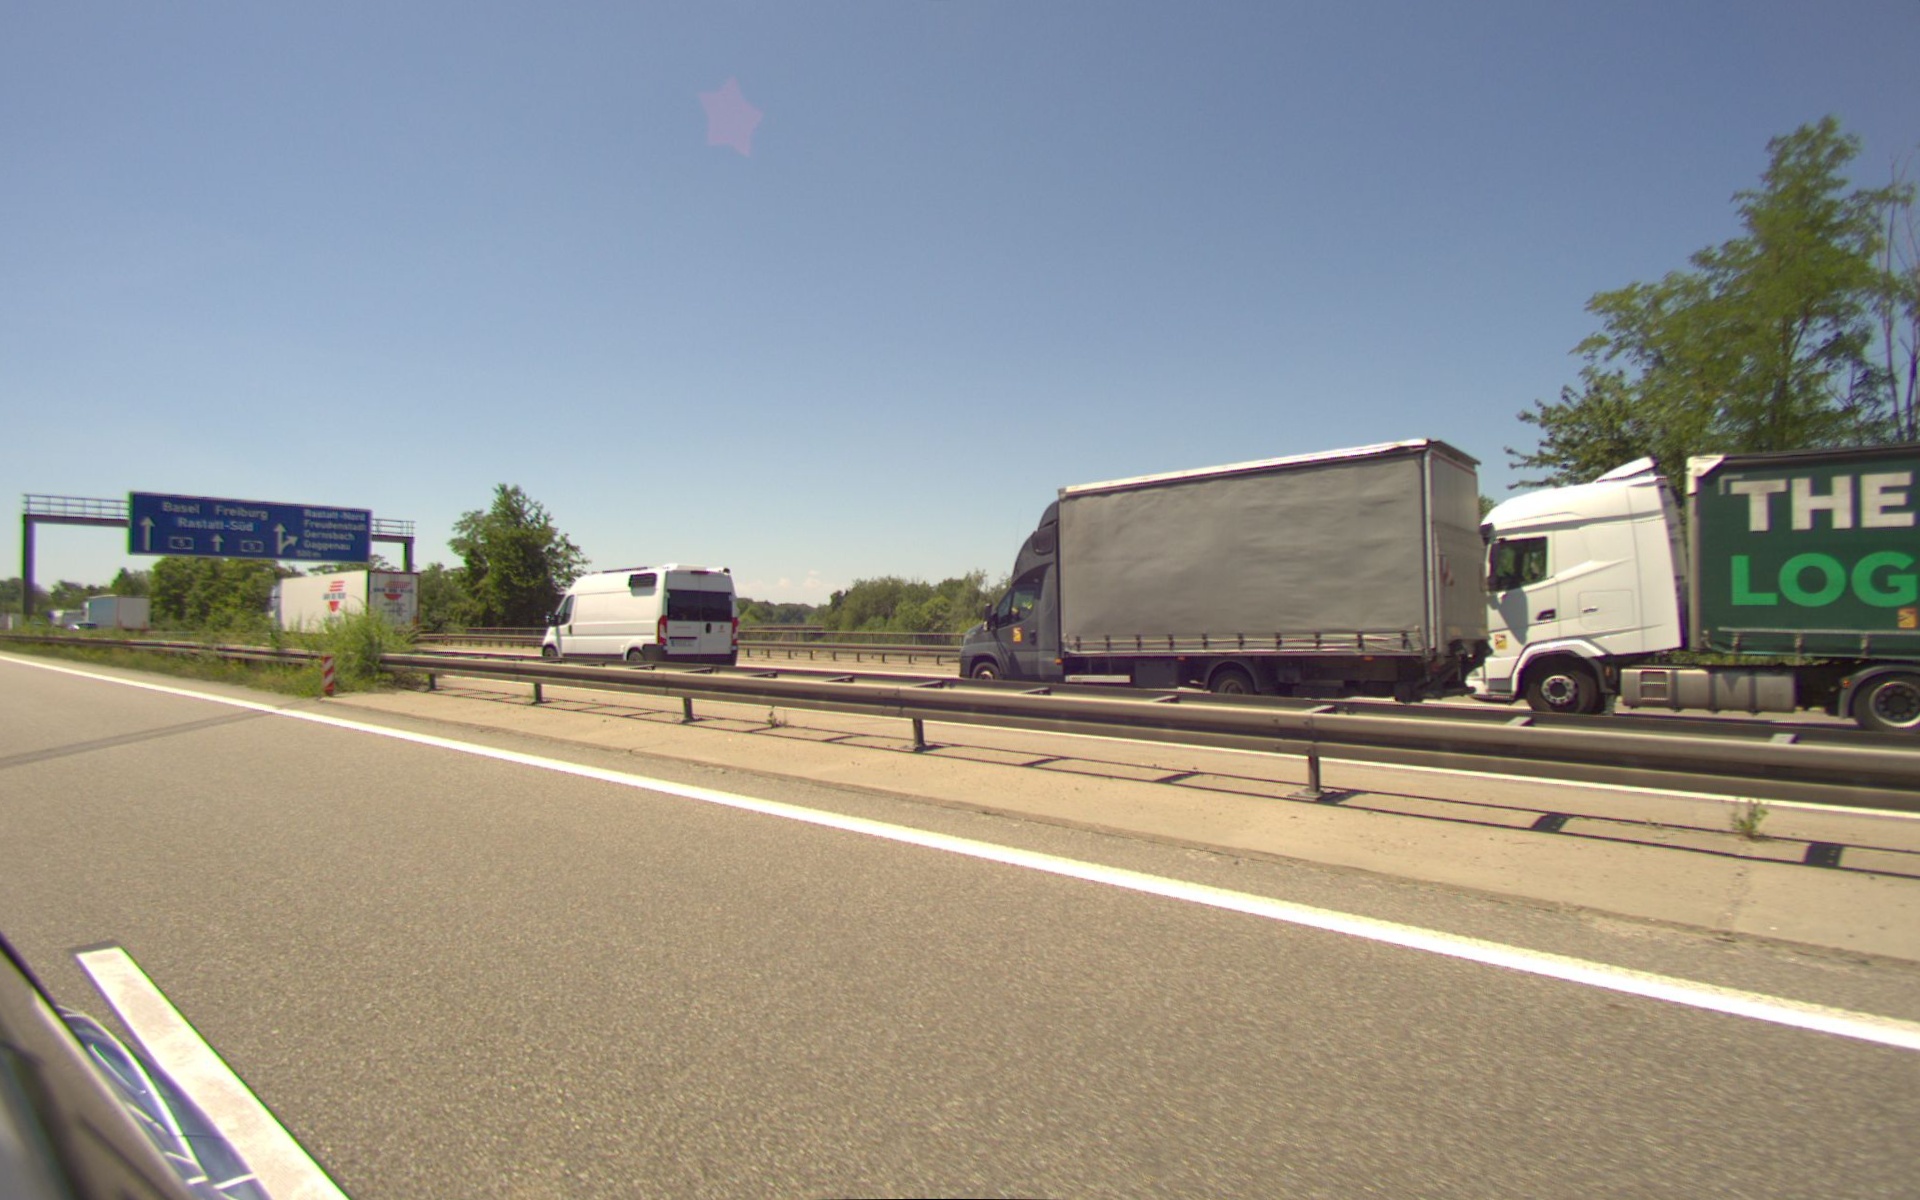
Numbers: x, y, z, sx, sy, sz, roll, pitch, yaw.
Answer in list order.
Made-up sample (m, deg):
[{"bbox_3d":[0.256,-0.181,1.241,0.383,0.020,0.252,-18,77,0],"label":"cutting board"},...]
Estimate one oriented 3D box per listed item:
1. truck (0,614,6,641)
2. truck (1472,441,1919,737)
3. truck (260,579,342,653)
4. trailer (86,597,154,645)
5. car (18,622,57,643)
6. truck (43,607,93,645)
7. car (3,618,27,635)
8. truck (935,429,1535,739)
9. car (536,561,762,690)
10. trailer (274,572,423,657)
[{"bbox_3d":[-164.825,4.687,172.089,8.237,4.386,2.900,-1,0,41],"label":"truck"},{"bbox_3d":[15.870,-0.212,12.215,17.004,3.831,3.211,-1,0,41],"label":"truck"},{"bbox_3d":[-39.651,0.934,60.864,5.292,4.238,2.715,-1,0,41],"label":"truck"},{"bbox_3d":[-80.753,2.000,97.131,13.940,4.339,2.715,-1,0,41],"label":"trailer"},{"bbox_3d":[-76.576,2.693,83.983,3.998,1.650,1.973,-1,-2,41],"label":"car"},{"bbox_3d":[-103.872,3.009,117.800,8.602,4.166,3.202,-1,0,41],"label":"truck"},{"bbox_3d":[-145.115,4.086,155.397,4.516,2.556,2.340,-1,-2,41],"label":"car"},{"bbox_3d":[4.026,-0.152,17.128,9.493,3.948,2.826,-1,0,42],"label":"truck"},{"bbox_3d":[-7.302,0.583,23.324,6.035,2.604,2.146,-1,-2,41],"label":"car"},{"bbox_3d":[-34.278,0.820,56.321,13.937,4.238,2.715,-1,0,40],"label":"trailer"}]
